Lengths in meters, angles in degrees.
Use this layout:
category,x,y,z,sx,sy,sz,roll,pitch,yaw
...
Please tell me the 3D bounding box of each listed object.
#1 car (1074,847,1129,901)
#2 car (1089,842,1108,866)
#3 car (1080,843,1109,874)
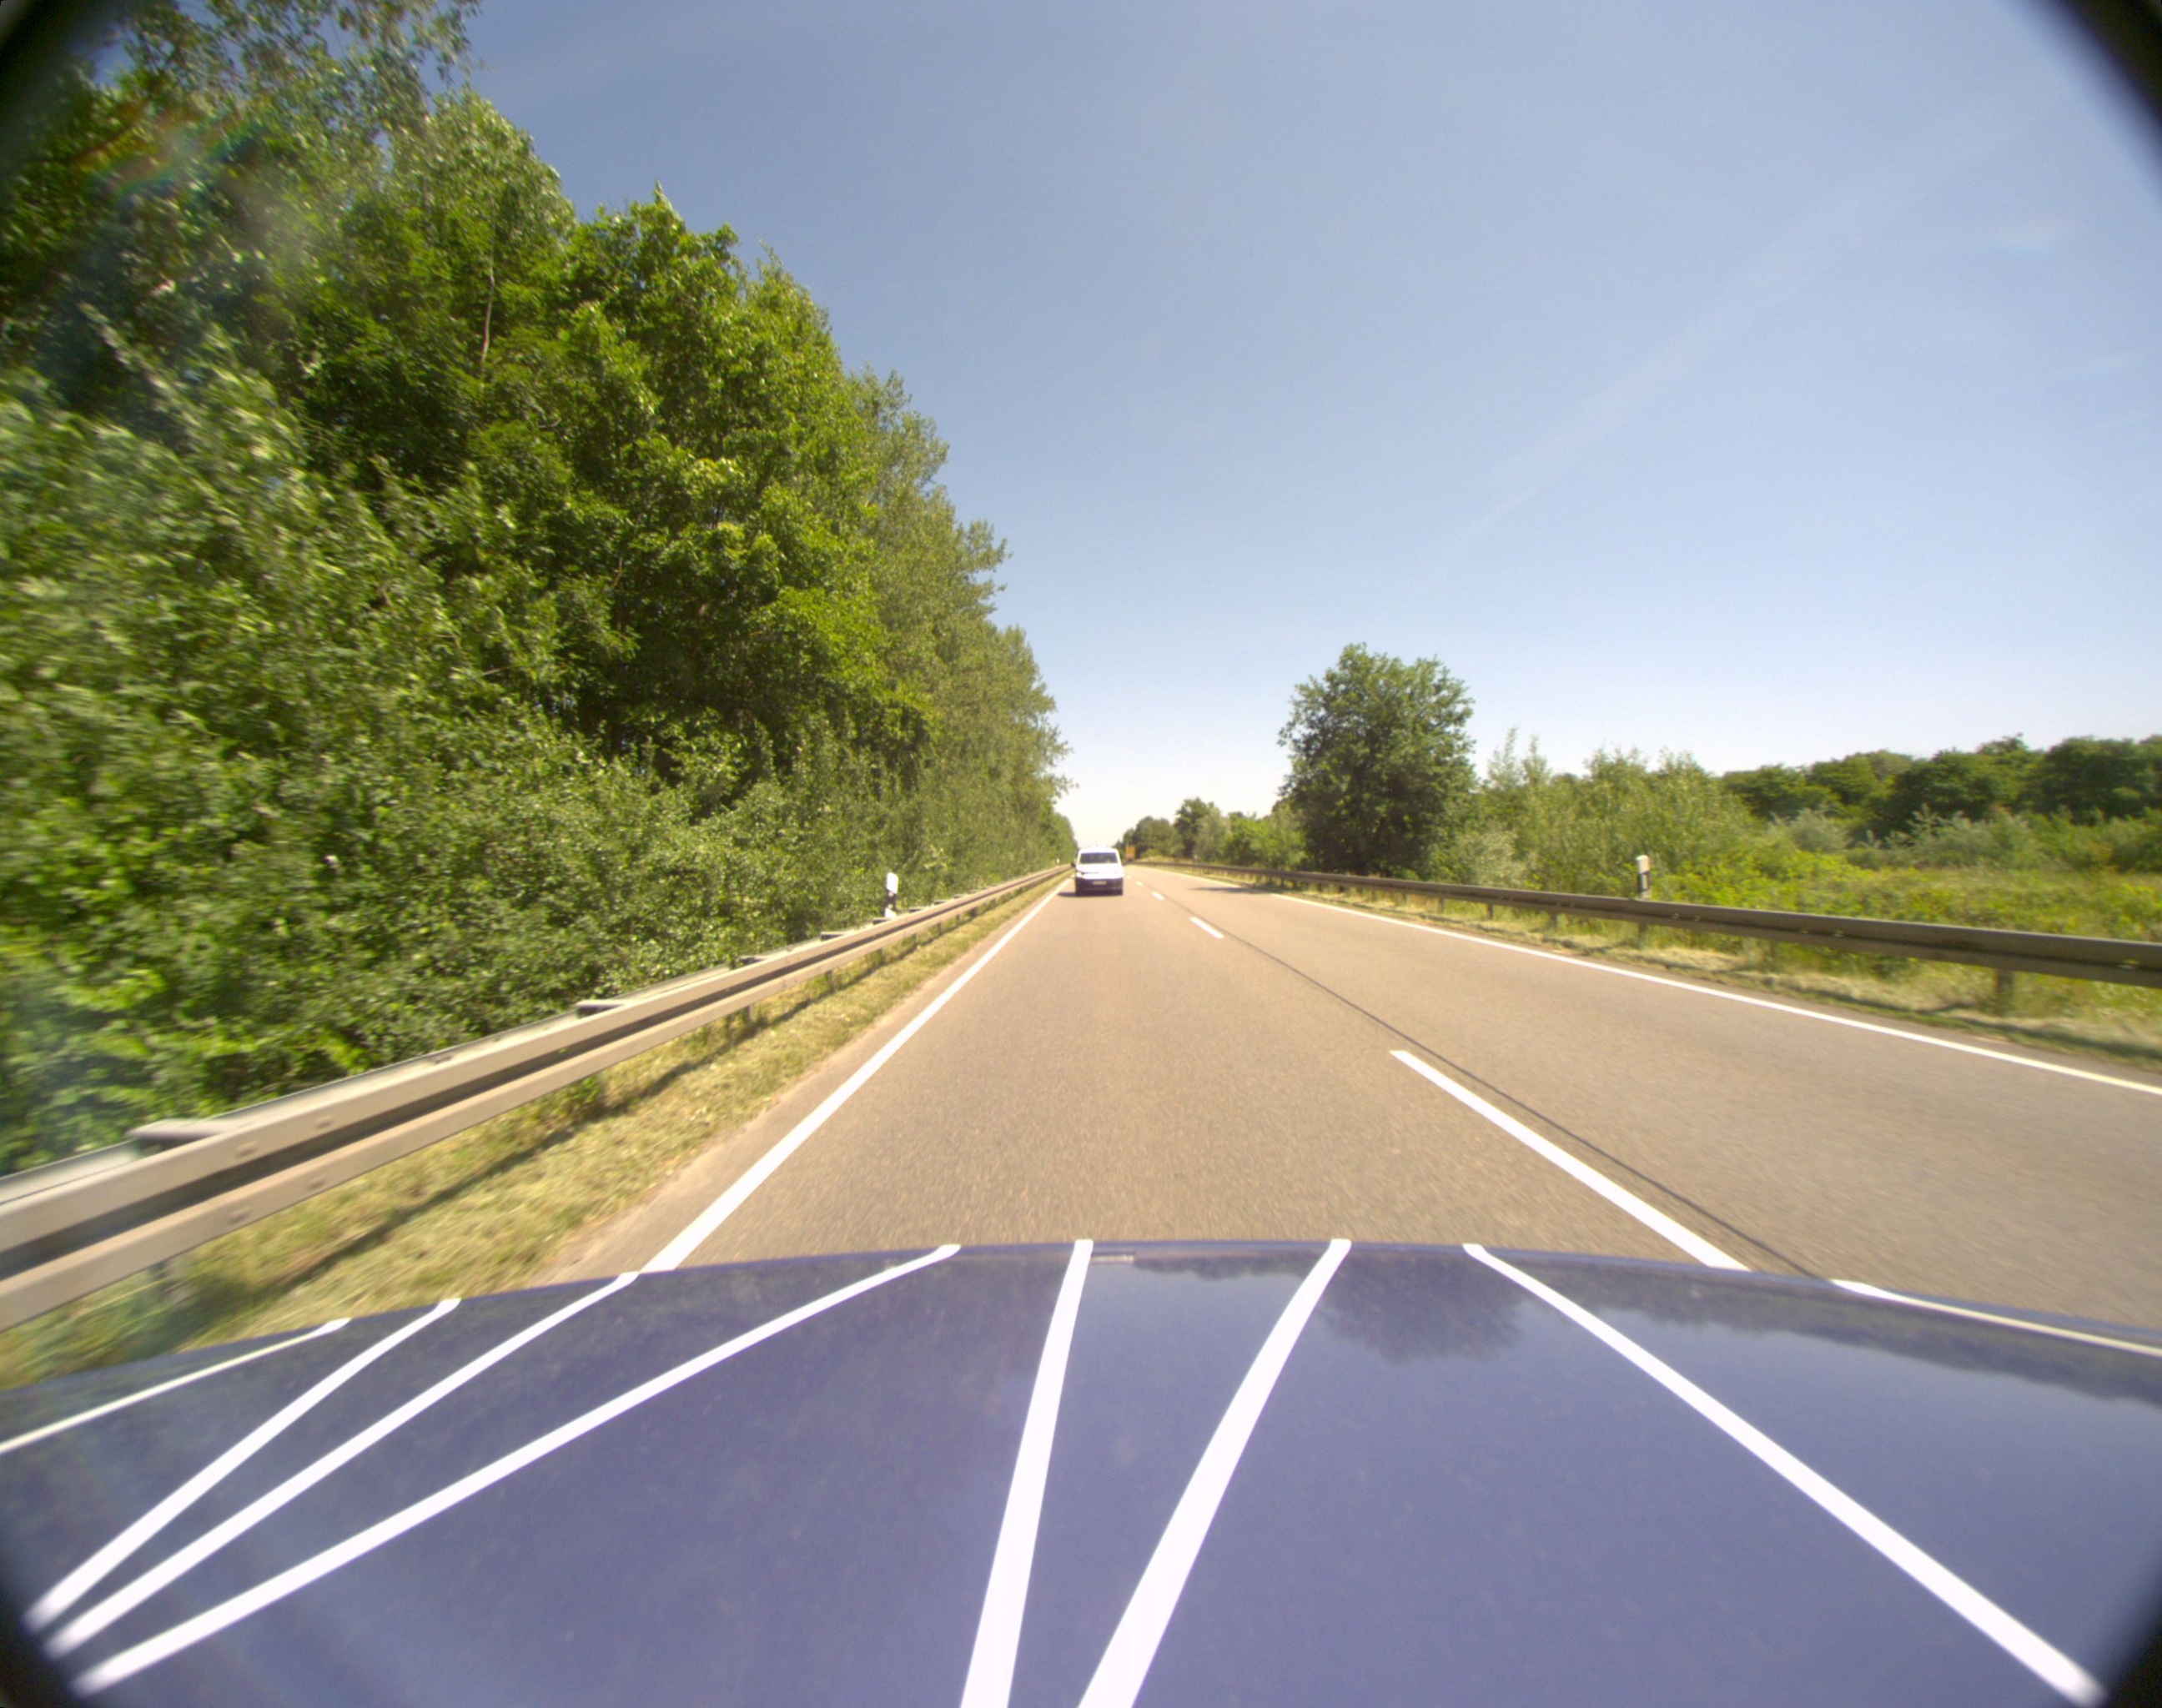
category,x,y,z,sx,sy,sz,roll,pitch,yaw
car,0.733,0.666,27.686,1.782,1.743,4.512,-2,0,1
car,1.768,0.035,75.190,1.782,2.287,4.106,-2,0,1
car,0.925,0.290,50.595,1.782,1.960,4.106,-2,0,1
